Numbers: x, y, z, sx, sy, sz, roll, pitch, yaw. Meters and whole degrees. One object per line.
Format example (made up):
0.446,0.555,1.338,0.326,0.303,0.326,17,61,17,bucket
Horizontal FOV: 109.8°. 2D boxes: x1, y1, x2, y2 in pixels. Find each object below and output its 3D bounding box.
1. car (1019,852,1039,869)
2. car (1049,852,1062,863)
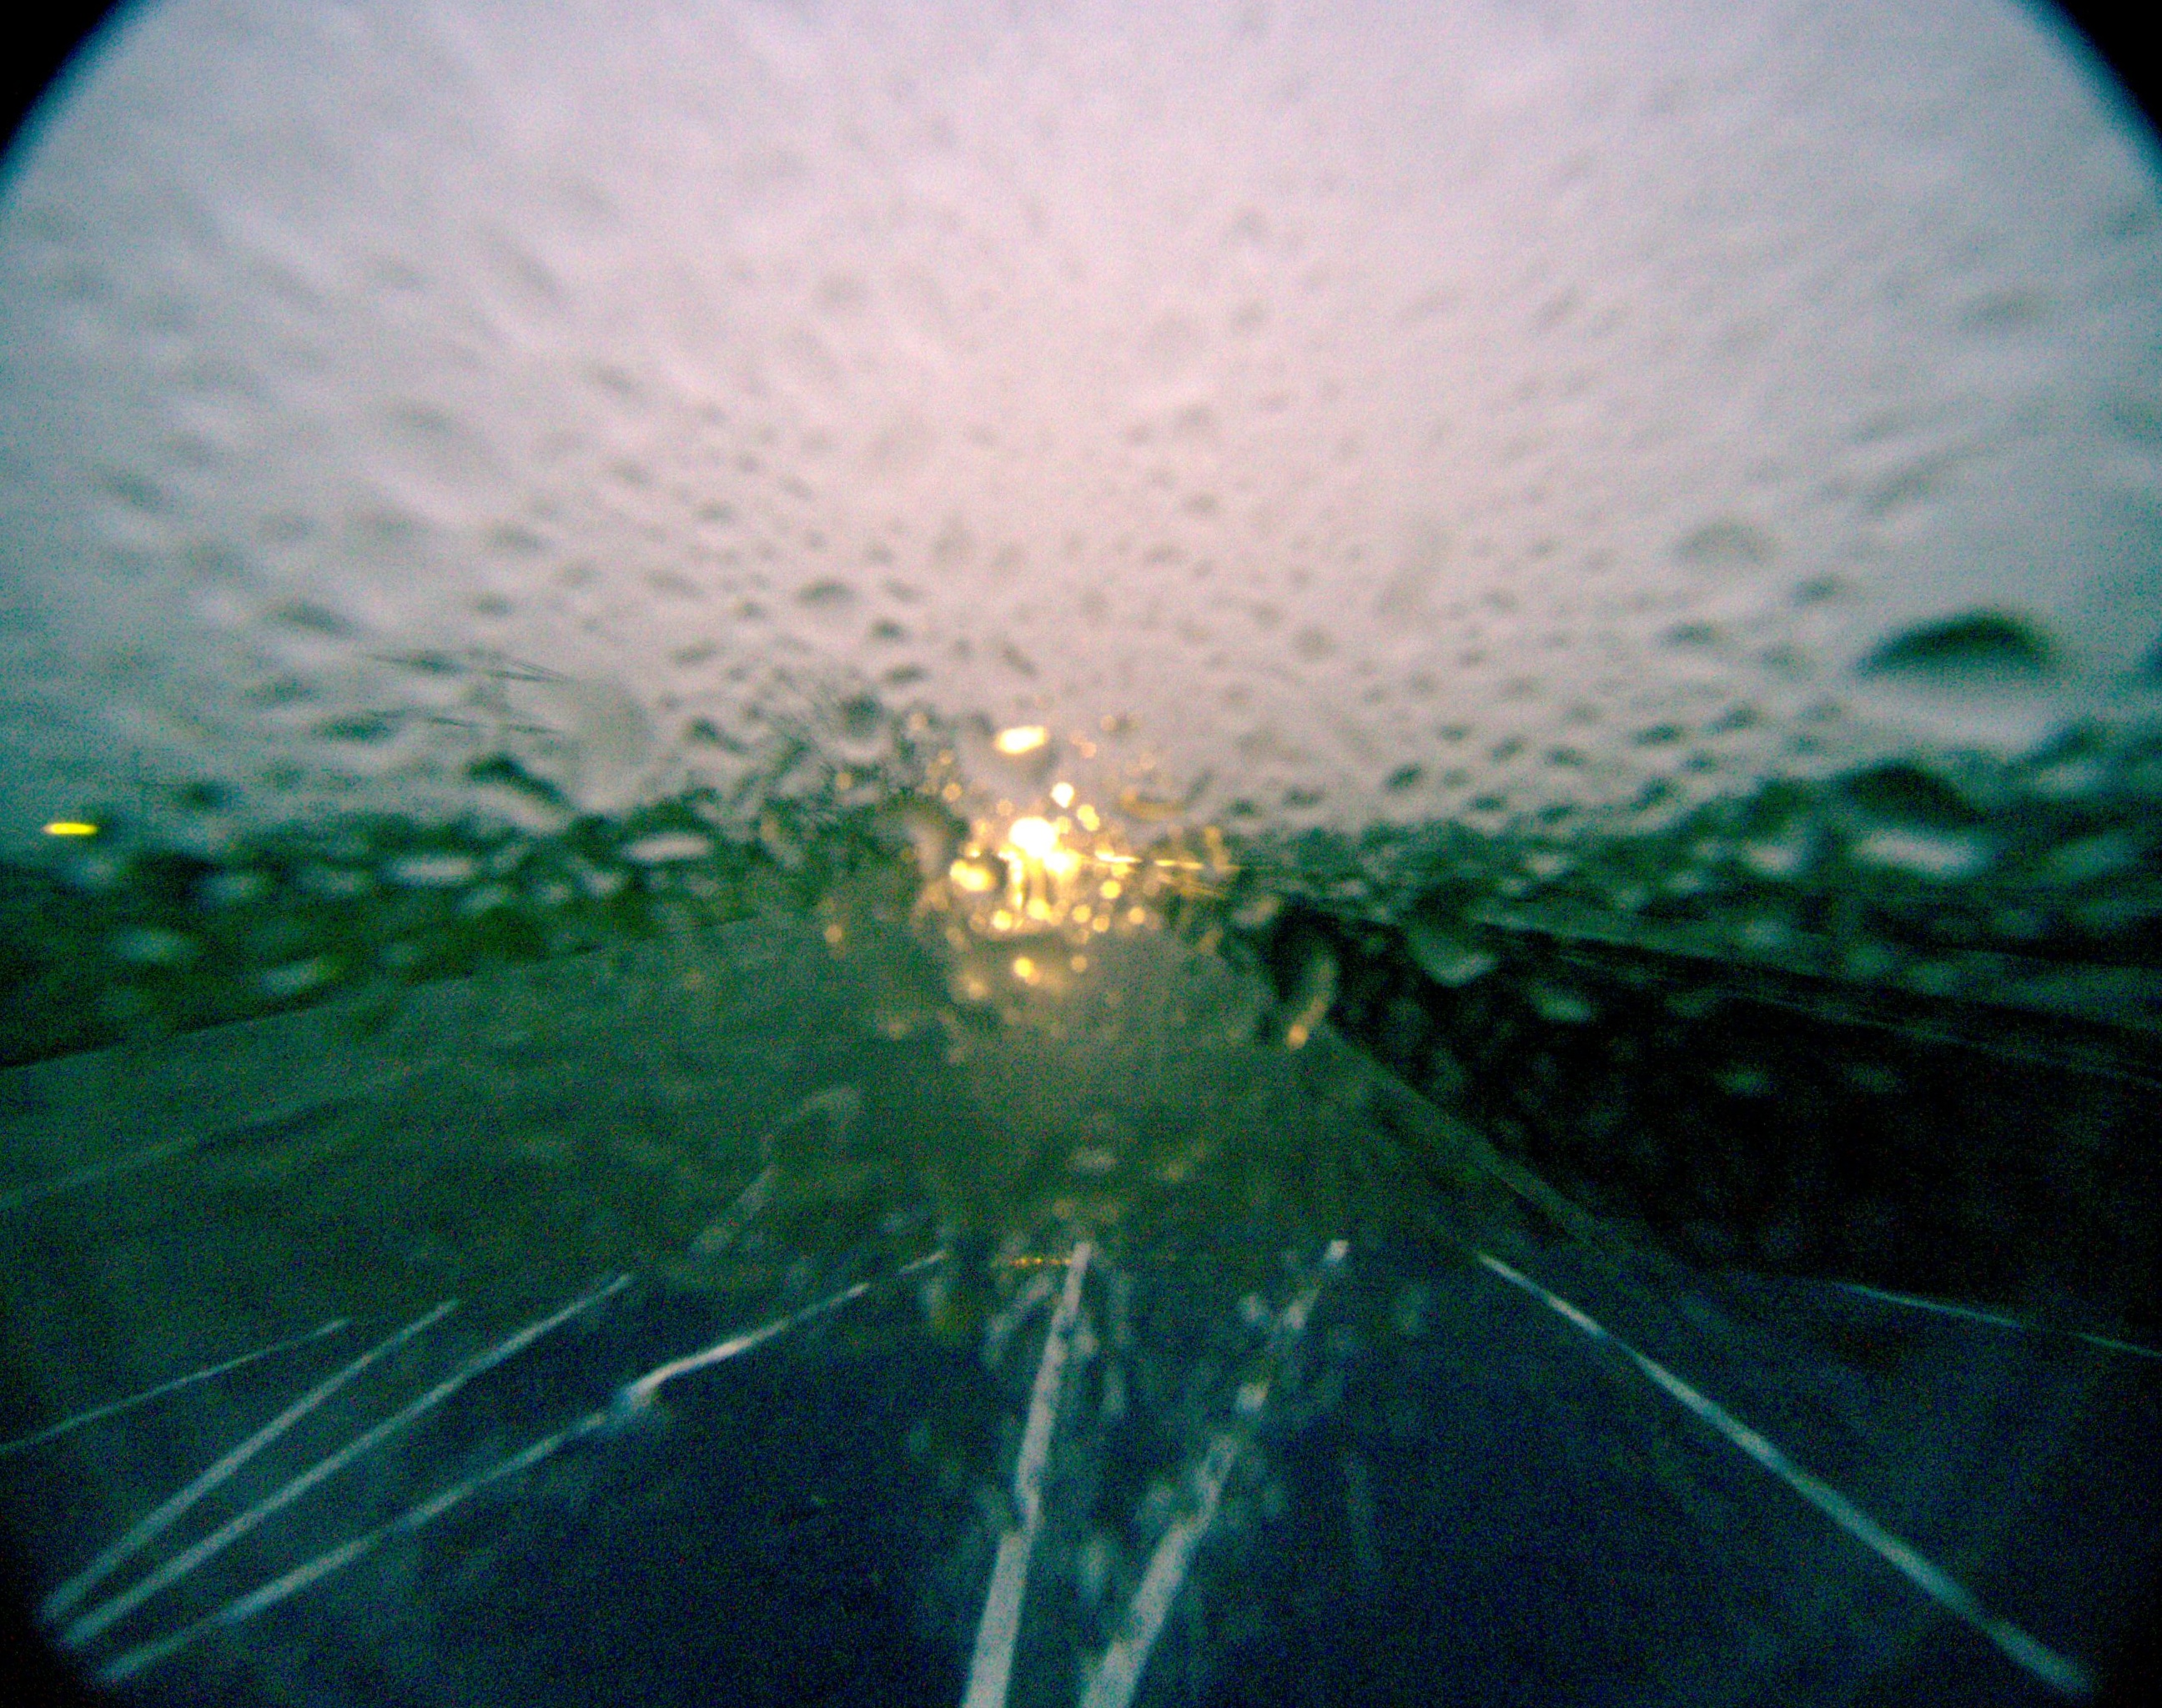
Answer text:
-5.160,0.602,75.805,1.802,1.494,3.998,-4,2,-2,car
-3.428,0.493,101.690,1.632,1.465,3.999,-1,0,-3,car
